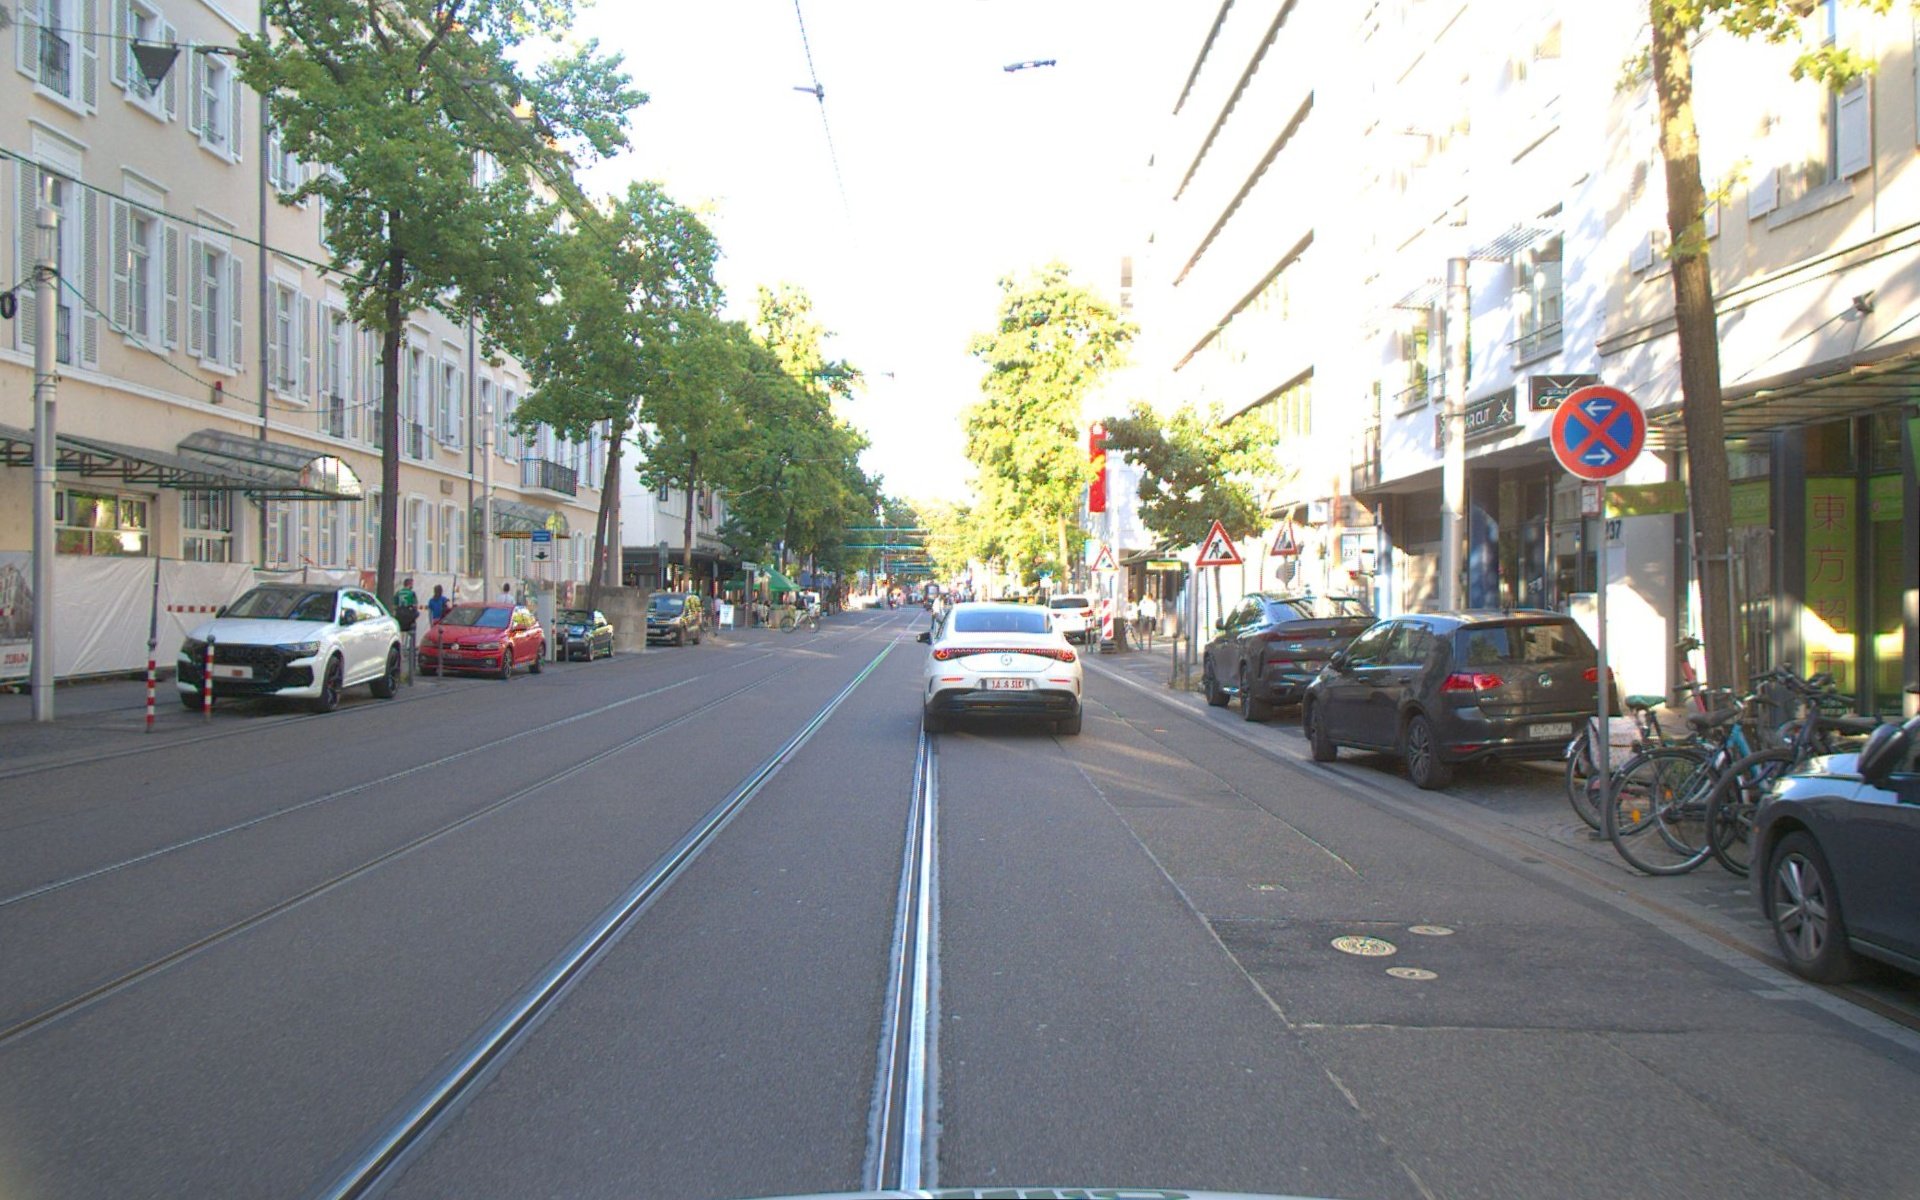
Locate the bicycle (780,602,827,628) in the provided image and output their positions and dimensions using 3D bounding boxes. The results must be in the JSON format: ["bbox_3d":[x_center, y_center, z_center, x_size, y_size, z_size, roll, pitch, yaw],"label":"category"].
[{"bbox_3d":[-7.018,0.652,74.097,2.014,1.155,0.870,0,0,-16],"label":"bicycle"}]

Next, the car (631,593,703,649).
[{"bbox_3d":[-9.836,0.672,55.716,1.519,1.827,3.170,0,0,7],"label":"car"}]

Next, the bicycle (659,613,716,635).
[{"bbox_3d":[-10.844,0.938,65.843,2.206,0.845,0.717,0,0,22],"label":"bicycle"}]

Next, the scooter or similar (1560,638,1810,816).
[{"bbox_3d":[5.171,0.893,11.864,1.506,1.217,0.675,0,0,3],"label":"scooter or similar"}]

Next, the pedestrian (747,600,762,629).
[{"bbox_3d":[-10.804,0.767,86.912,0.511,1.504,0.644,-2,-1,-28],"label":"pedestrian"}]

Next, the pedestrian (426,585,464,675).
[{"bbox_3d":[-11.851,0.677,38.046,0.693,2.039,0.675,0,0,-4],"label":"pedestrian"}]

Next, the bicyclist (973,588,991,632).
[{"bbox_3d":[0.898,0.399,66.272,0.710,1.732,0.811,0,-1,0],"label":"bicyclist"}]

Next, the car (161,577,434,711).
[{"bbox_3d":[-9.423,0.582,24.051,1.921,1.721,5.013,0,0,0],"label":"car"}]

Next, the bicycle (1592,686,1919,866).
[{"bbox_3d":[4.637,0.984,9.344,1.994,0.981,0.282,0,0,4],"label":"bicycle"}]

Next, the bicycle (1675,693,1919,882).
[{"bbox_3d":[4.896,1.010,8.983,1.856,0.981,0.332,0,0,4],"label":"bicycle"}]

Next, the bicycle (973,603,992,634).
[{"bbox_3d":[0.898,0.735,66.449,0.725,1.209,2.160,0,0,0],"label":"bicycle"}]

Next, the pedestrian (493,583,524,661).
[{"bbox_3d":[-11.925,0.567,43.697,0.693,2.039,0.675,0,0,-4],"label":"pedestrian"}]

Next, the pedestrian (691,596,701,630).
[{"bbox_3d":[-14.058,0.688,88.068,0.507,1.813,0.608,0,0,-6],"label":"pedestrian"}]

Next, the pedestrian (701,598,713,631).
[{"bbox_3d":[-12.535,0.706,81.975,0.506,1.644,0.650,0,0,-2],"label":"pedestrian"}]

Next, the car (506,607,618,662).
[{"bbox_3d":[-10.124,0.851,42.380,1.953,1.315,3.999,0,0,-1],"label":"car"}]

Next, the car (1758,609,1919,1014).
[{"bbox_3d":[4.471,0.777,5.332,1.832,1.478,4.106,-2,0,1],"label":"car"}]

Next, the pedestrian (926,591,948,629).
[{"bbox_3d":[-1.117,0.495,79.429,0.904,1.805,0.870,0,0,-15],"label":"pedestrian"}]

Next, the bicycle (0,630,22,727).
[{"bbox_3d":[-10.927,0.886,17.950,0.582,1.068,2.005,0,0,-8],"label":"bicycle"}]

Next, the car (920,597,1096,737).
[{"bbox_3d":[0.466,0.709,19.677,1.830,1.494,4.041,0,0,-2],"label":"car"}]

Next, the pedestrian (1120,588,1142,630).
[{"bbox_3d":[7.328,0.387,71.011,0.785,1.805,0.680,0,0,-13],"label":"pedestrian"}]

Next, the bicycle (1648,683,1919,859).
[{"bbox_3d":[4.952,0.999,9.836,1.506,0.981,0.496,0,0,6],"label":"bicycle"}]

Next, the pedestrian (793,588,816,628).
[{"bbox_3d":[-6.961,0.347,74.112,0.904,1.805,0.870,0,0,-15],"label":"pedestrian"}]

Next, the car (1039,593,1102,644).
[{"bbox_3d":[3.957,0.633,59.923,1.953,1.758,4.240,0,0,-1],"label":"car"}]

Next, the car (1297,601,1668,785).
[{"bbox_3d":[4.642,0.744,15.356,1.802,1.461,3.994,0,0,-7],"label":"car"}]

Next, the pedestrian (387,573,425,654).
[{"bbox_3d":[-12.726,0.312,38.029,0.693,1.838,0.674,0,0,-6],"label":"pedestrian"}]

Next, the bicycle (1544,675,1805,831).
[{"bbox_3d":[4.703,0.997,10.943,1.506,0.981,0.496,0,0,3],"label":"bicycle"}]

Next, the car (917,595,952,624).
[{"bbox_3d":[-2.916,1.101,187.999,3.957,3.169,8.429,0,0,-1],"label":"car"}]

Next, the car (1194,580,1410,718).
[{"bbox_3d":[4.653,0.610,23.259,1.953,1.743,4.865,0,0,-1],"label":"car"}]

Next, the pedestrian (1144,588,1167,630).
[{"bbox_3d":[8.328,0.377,70.512,0.785,1.805,0.680,0,0,-13],"label":"pedestrian"}]

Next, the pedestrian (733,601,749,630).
[{"bbox_3d":[-11.304,0.775,85.400,0.557,1.489,0.650,0,0,18],"label":"pedestrian"}]

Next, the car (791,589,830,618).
[{"bbox_3d":[-10.656,0.262,118.229,1.951,2.049,4.003,0,0,7],"label":"car"}]

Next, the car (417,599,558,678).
[{"bbox_3d":[-9.666,0.754,34.164,1.654,1.525,4.234,0,0,0],"label":"car"}]

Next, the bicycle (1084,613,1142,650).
[{"bbox_3d":[4.520,0.921,48.845,1.687,1.080,0.581,0,0,2],"label":"bicycle"}]
